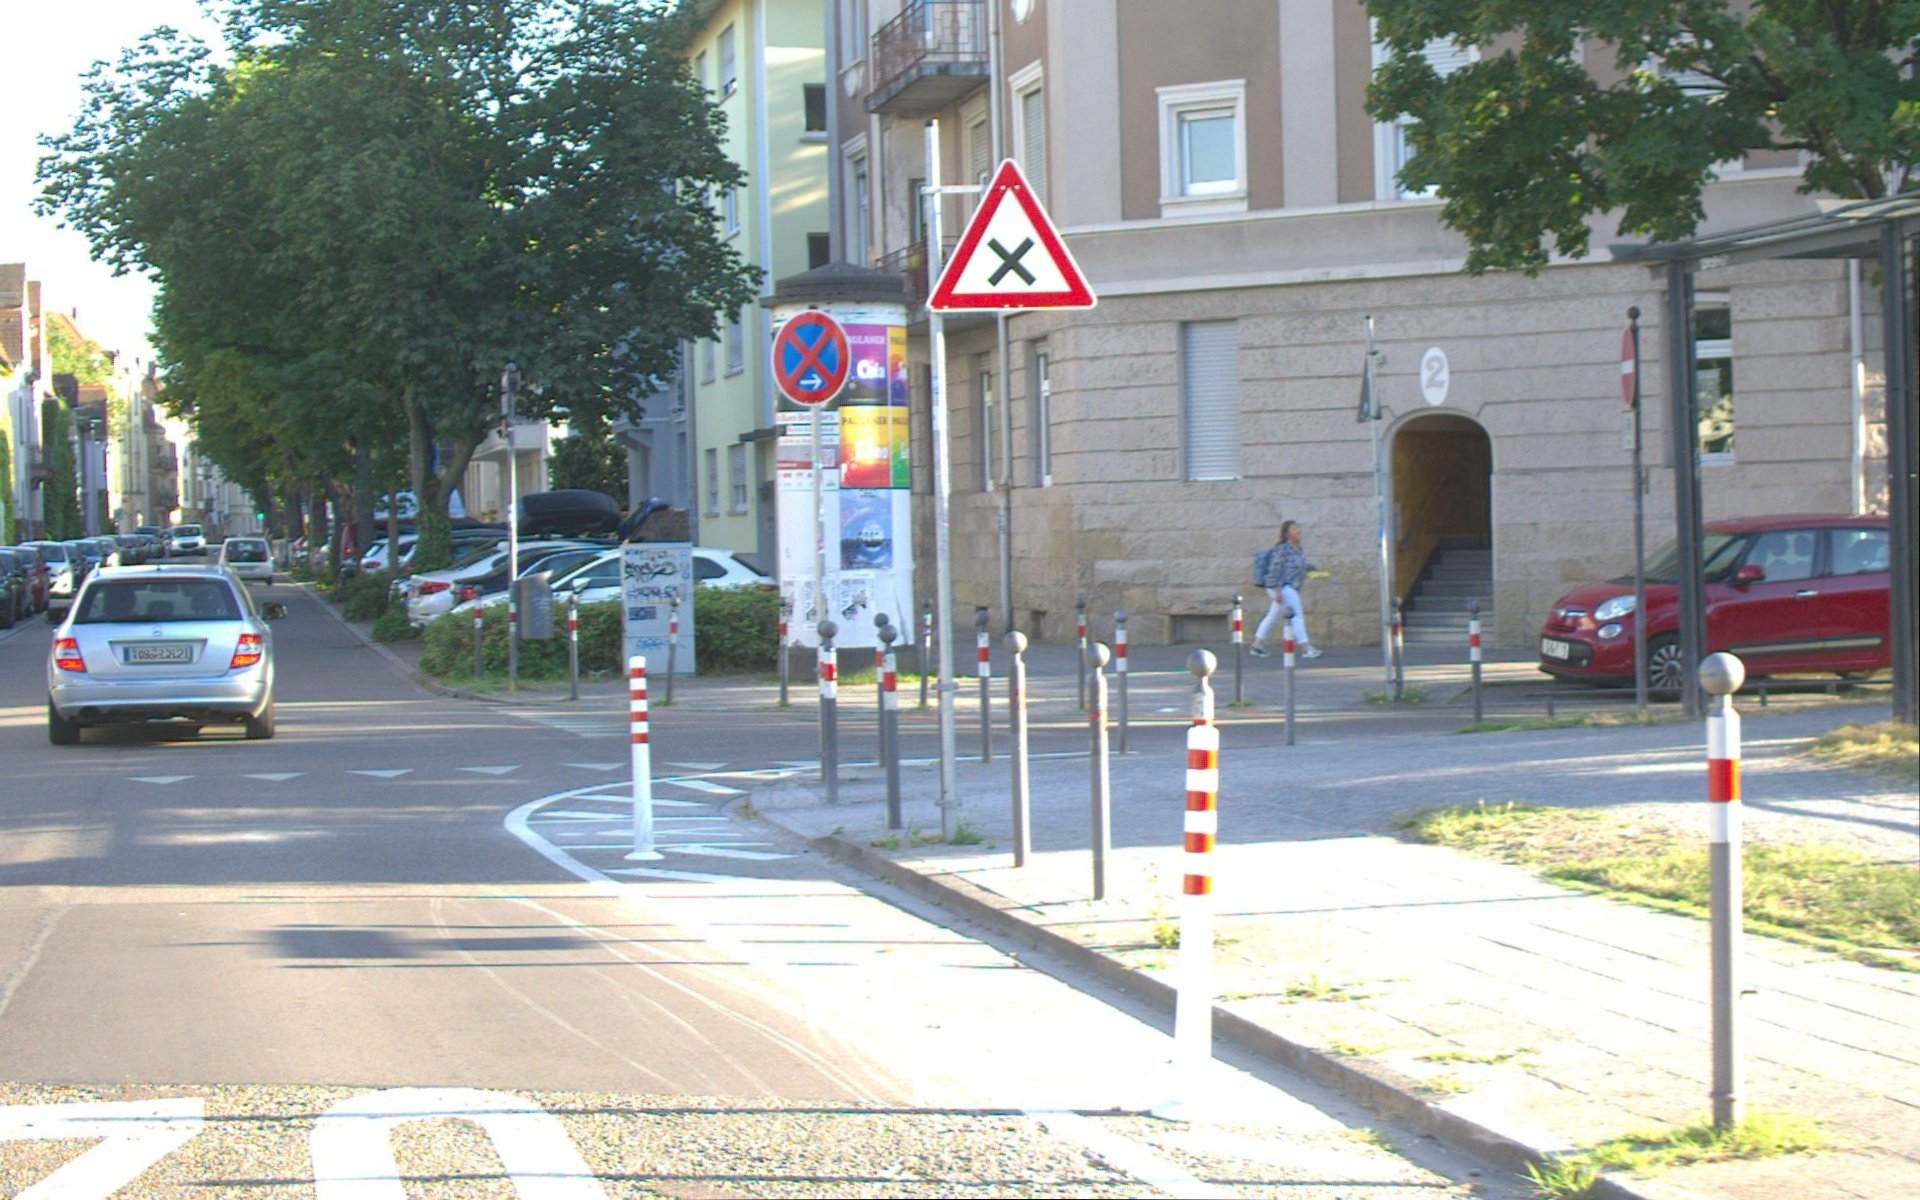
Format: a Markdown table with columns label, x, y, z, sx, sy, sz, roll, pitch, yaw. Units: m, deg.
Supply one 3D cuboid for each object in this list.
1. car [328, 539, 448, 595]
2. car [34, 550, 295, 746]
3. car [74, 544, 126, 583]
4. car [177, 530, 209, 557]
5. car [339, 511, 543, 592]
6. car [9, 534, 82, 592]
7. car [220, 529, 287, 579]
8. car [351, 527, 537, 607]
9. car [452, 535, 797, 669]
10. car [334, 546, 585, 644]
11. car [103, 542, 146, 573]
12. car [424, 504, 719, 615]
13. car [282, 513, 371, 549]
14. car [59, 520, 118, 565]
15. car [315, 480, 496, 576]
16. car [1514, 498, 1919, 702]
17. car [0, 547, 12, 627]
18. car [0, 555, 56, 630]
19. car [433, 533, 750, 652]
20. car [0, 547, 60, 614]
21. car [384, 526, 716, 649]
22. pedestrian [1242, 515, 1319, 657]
| label | x | y | z | sx | sy | sz | roll | pitch | yaw |
| --- | --- | --- | --- | --- | --- | --- | --- | --- | --- |
| car | -18.119 | -1.049 | 108.802 | 3.593 | 1.654 | 1.650 | -2 | 2 | -14 |
| car | -6.551 | 0.353 | 28.672 | 1.816 | 1.468 | 4.217 | -1 | 1 | -9 |
| car | -33.836 | -1.445 | 135.348 | 1.798 | 1.477 | 3.858 | -1 | 2 | -12 |
| car | -44.517 | -3.285 | 199.485 | 1.528 | 1.469 | 4.272 | -1 | 0 | -9 |
| car | -12.295 | -1.161 | 81.342 | 4.624 | 1.830 | 1.954 | -1 | 1 | -12 |
| car | -24.656 | -1.004 | 92.755 | 1.659 | 1.494 | 3.755 | -1 | 1 | -11 |
| car | -21.772 | -1.416 | 105.997 | 1.816 | 1.468 | 4.217 | -1 | 1 | -9 |
| car | -10.951 | -0.715 | 72.840 | 3.729 | 1.553 | 1.726 | -2 | 1 | -13 |
| car | -4.212 | -0.002 | 42.963 | 4.047 | 1.500 | 1.862 | -2 | 1 | -13 |
| car | -8.822 | -0.109 | 60.491 | 4.189 | 1.553 | 1.875 | -2 | 1 | -13 |
| car | -38.536 | -1.975 | 158.675 | 1.798 | 1.382 | 3.607 | -1 | 2 | -12 |
| car | -6.314 | -0.666 | 55.744 | 4.525 | 1.635 | 1.875 | -2 | 1 | -13 |
| car | -28.301 | -3.080 | 153.485 | 3.843 | 1.477 | 1.806 | -2 | 2 | -11 |
| car | -30.303 | -2.014 | 119.625 | 1.798 | 1.477 | 3.858 | -1 | 2 | -12 |
| car | -18.073 | -2.351 | 111.941 | 5.540 | 2.958 | 2.473 | -2 | 2 | -14 |
| car | 7.466 | -0.034 | 32.351 | 4.073 | 1.734 | 1.812 | -1 | 3 | -10 |
| car | -19.382 | -0.258 | 66.647 | 1.853 | 1.492 | 4.656 | -1 | 1 | -15 |
| car | -19.945 | -0.168 | 71.763 | 1.783 | 1.492 | 4.701 | -1 | 1 | -11 |
| car | -5.116 | -0.122 | 47.623 | 4.141 | 1.443 | 1.674 | -3 | 1 | -13 |
| car | -21.507 | -0.455 | 78.393 | 1.659 | 1.483 | 3.755 | -1 | 1 | -11 |
| car | -5.998 | -0.216 | 50.204 | 4.475 | 1.520 | 1.955 | -3 | 3 | -17 |
| pedestrian | 3.578 | -0.164 | 38.462 | 0.819 | 1.539 | 0.742 | 1 | 4 | 4 |
